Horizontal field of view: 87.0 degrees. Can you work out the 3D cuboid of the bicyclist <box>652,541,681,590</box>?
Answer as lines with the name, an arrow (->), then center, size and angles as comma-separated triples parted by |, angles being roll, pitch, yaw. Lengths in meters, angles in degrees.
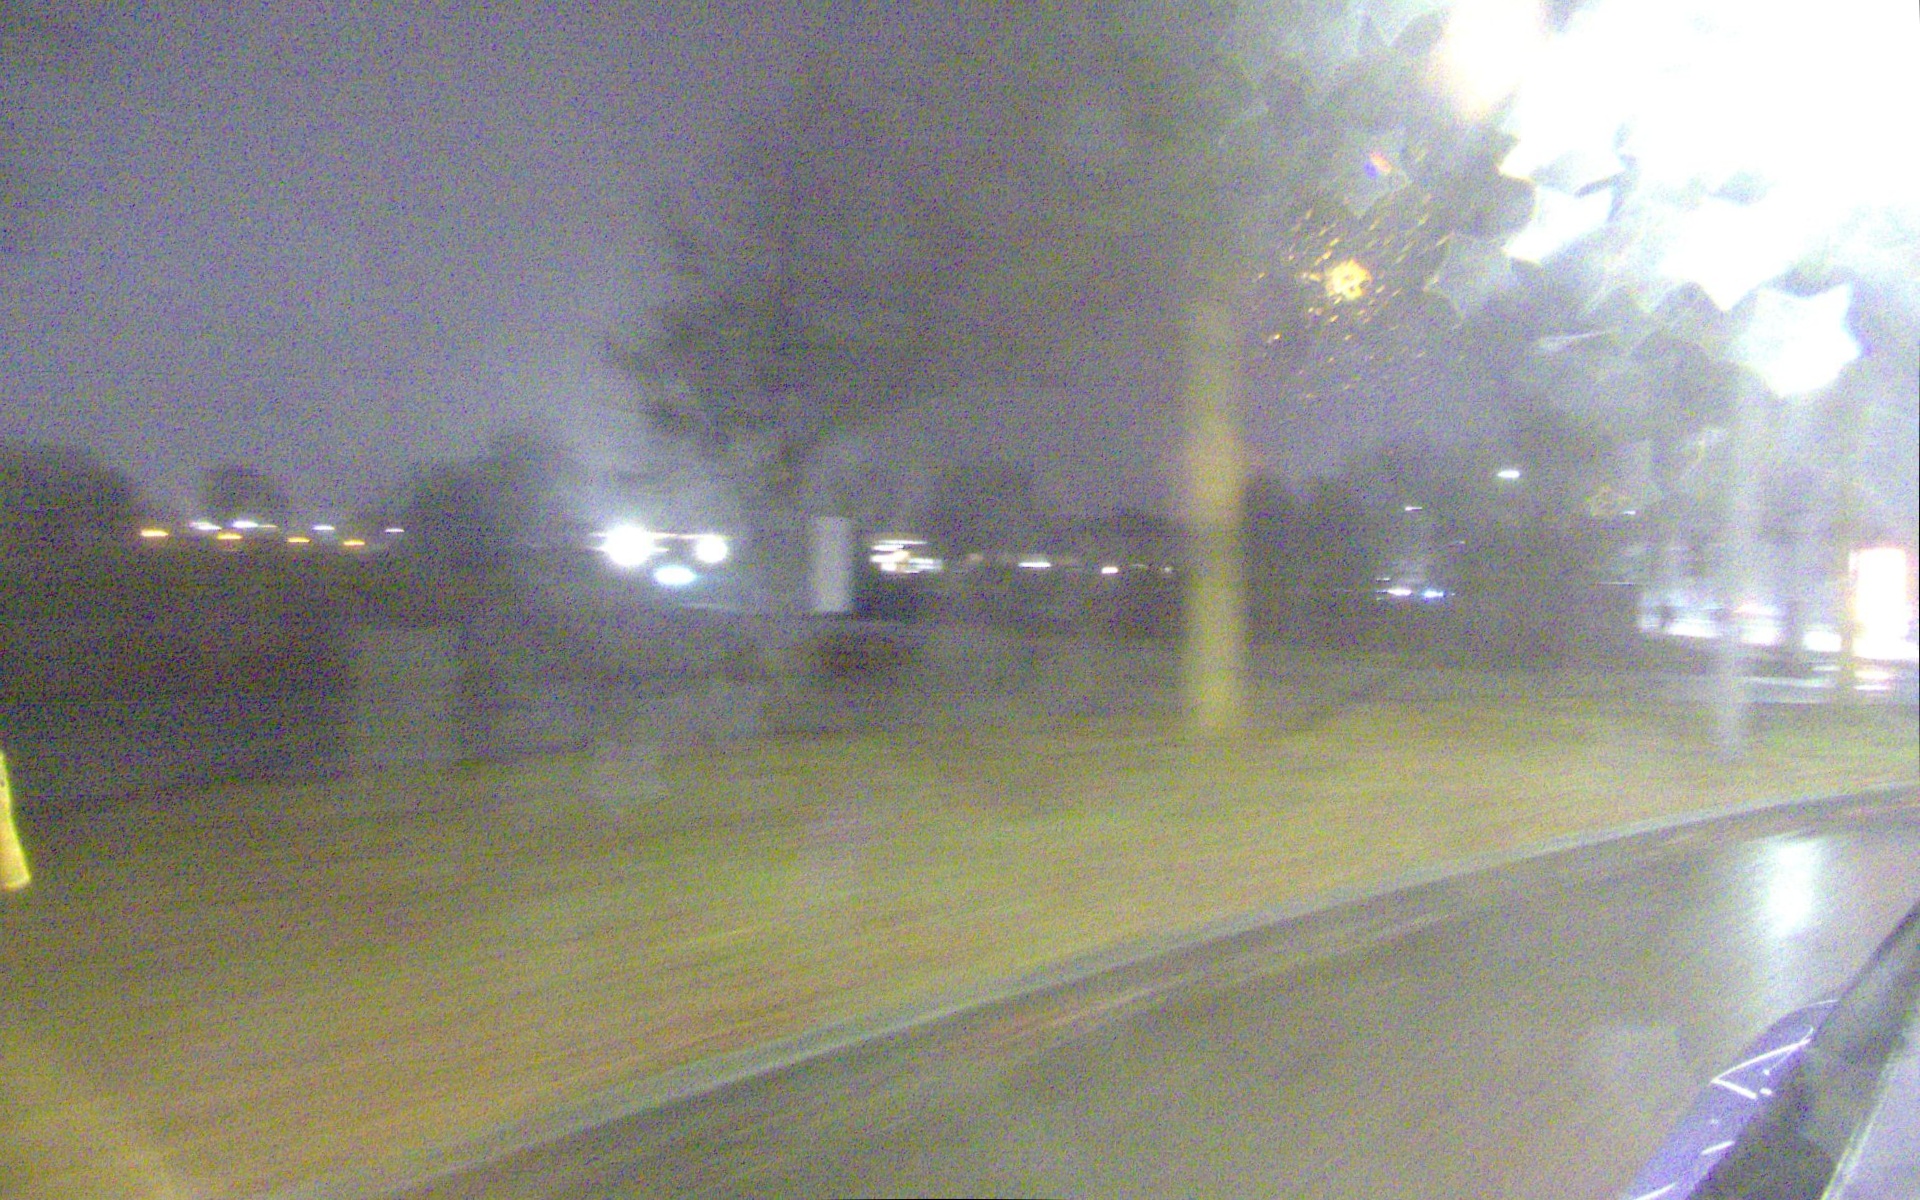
bicyclist -> -8.899, -1.042, 30.673 | 0.601, 1.465, 0.610 | 1, 1, 31

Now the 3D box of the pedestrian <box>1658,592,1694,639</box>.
pedestrian -> 23.727, 0.503, 33.550 | 0.718, 1.504, 0.832 | 1, 1, 15

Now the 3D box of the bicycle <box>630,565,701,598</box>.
bicycle -> -8.949, -0.570, 30.690 | 2.403, 0.989, 0.614 | 1, 1, 32

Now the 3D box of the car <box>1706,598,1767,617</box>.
car -> 63.986, 0.590, 83.502 | 1.970, 1.419, 5.328 | 1, 1, 14

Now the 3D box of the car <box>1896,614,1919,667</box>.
car -> 33.108, 1.420, 33.168 | 1.809, 1.727, 4.174 | 1, 1, 15
